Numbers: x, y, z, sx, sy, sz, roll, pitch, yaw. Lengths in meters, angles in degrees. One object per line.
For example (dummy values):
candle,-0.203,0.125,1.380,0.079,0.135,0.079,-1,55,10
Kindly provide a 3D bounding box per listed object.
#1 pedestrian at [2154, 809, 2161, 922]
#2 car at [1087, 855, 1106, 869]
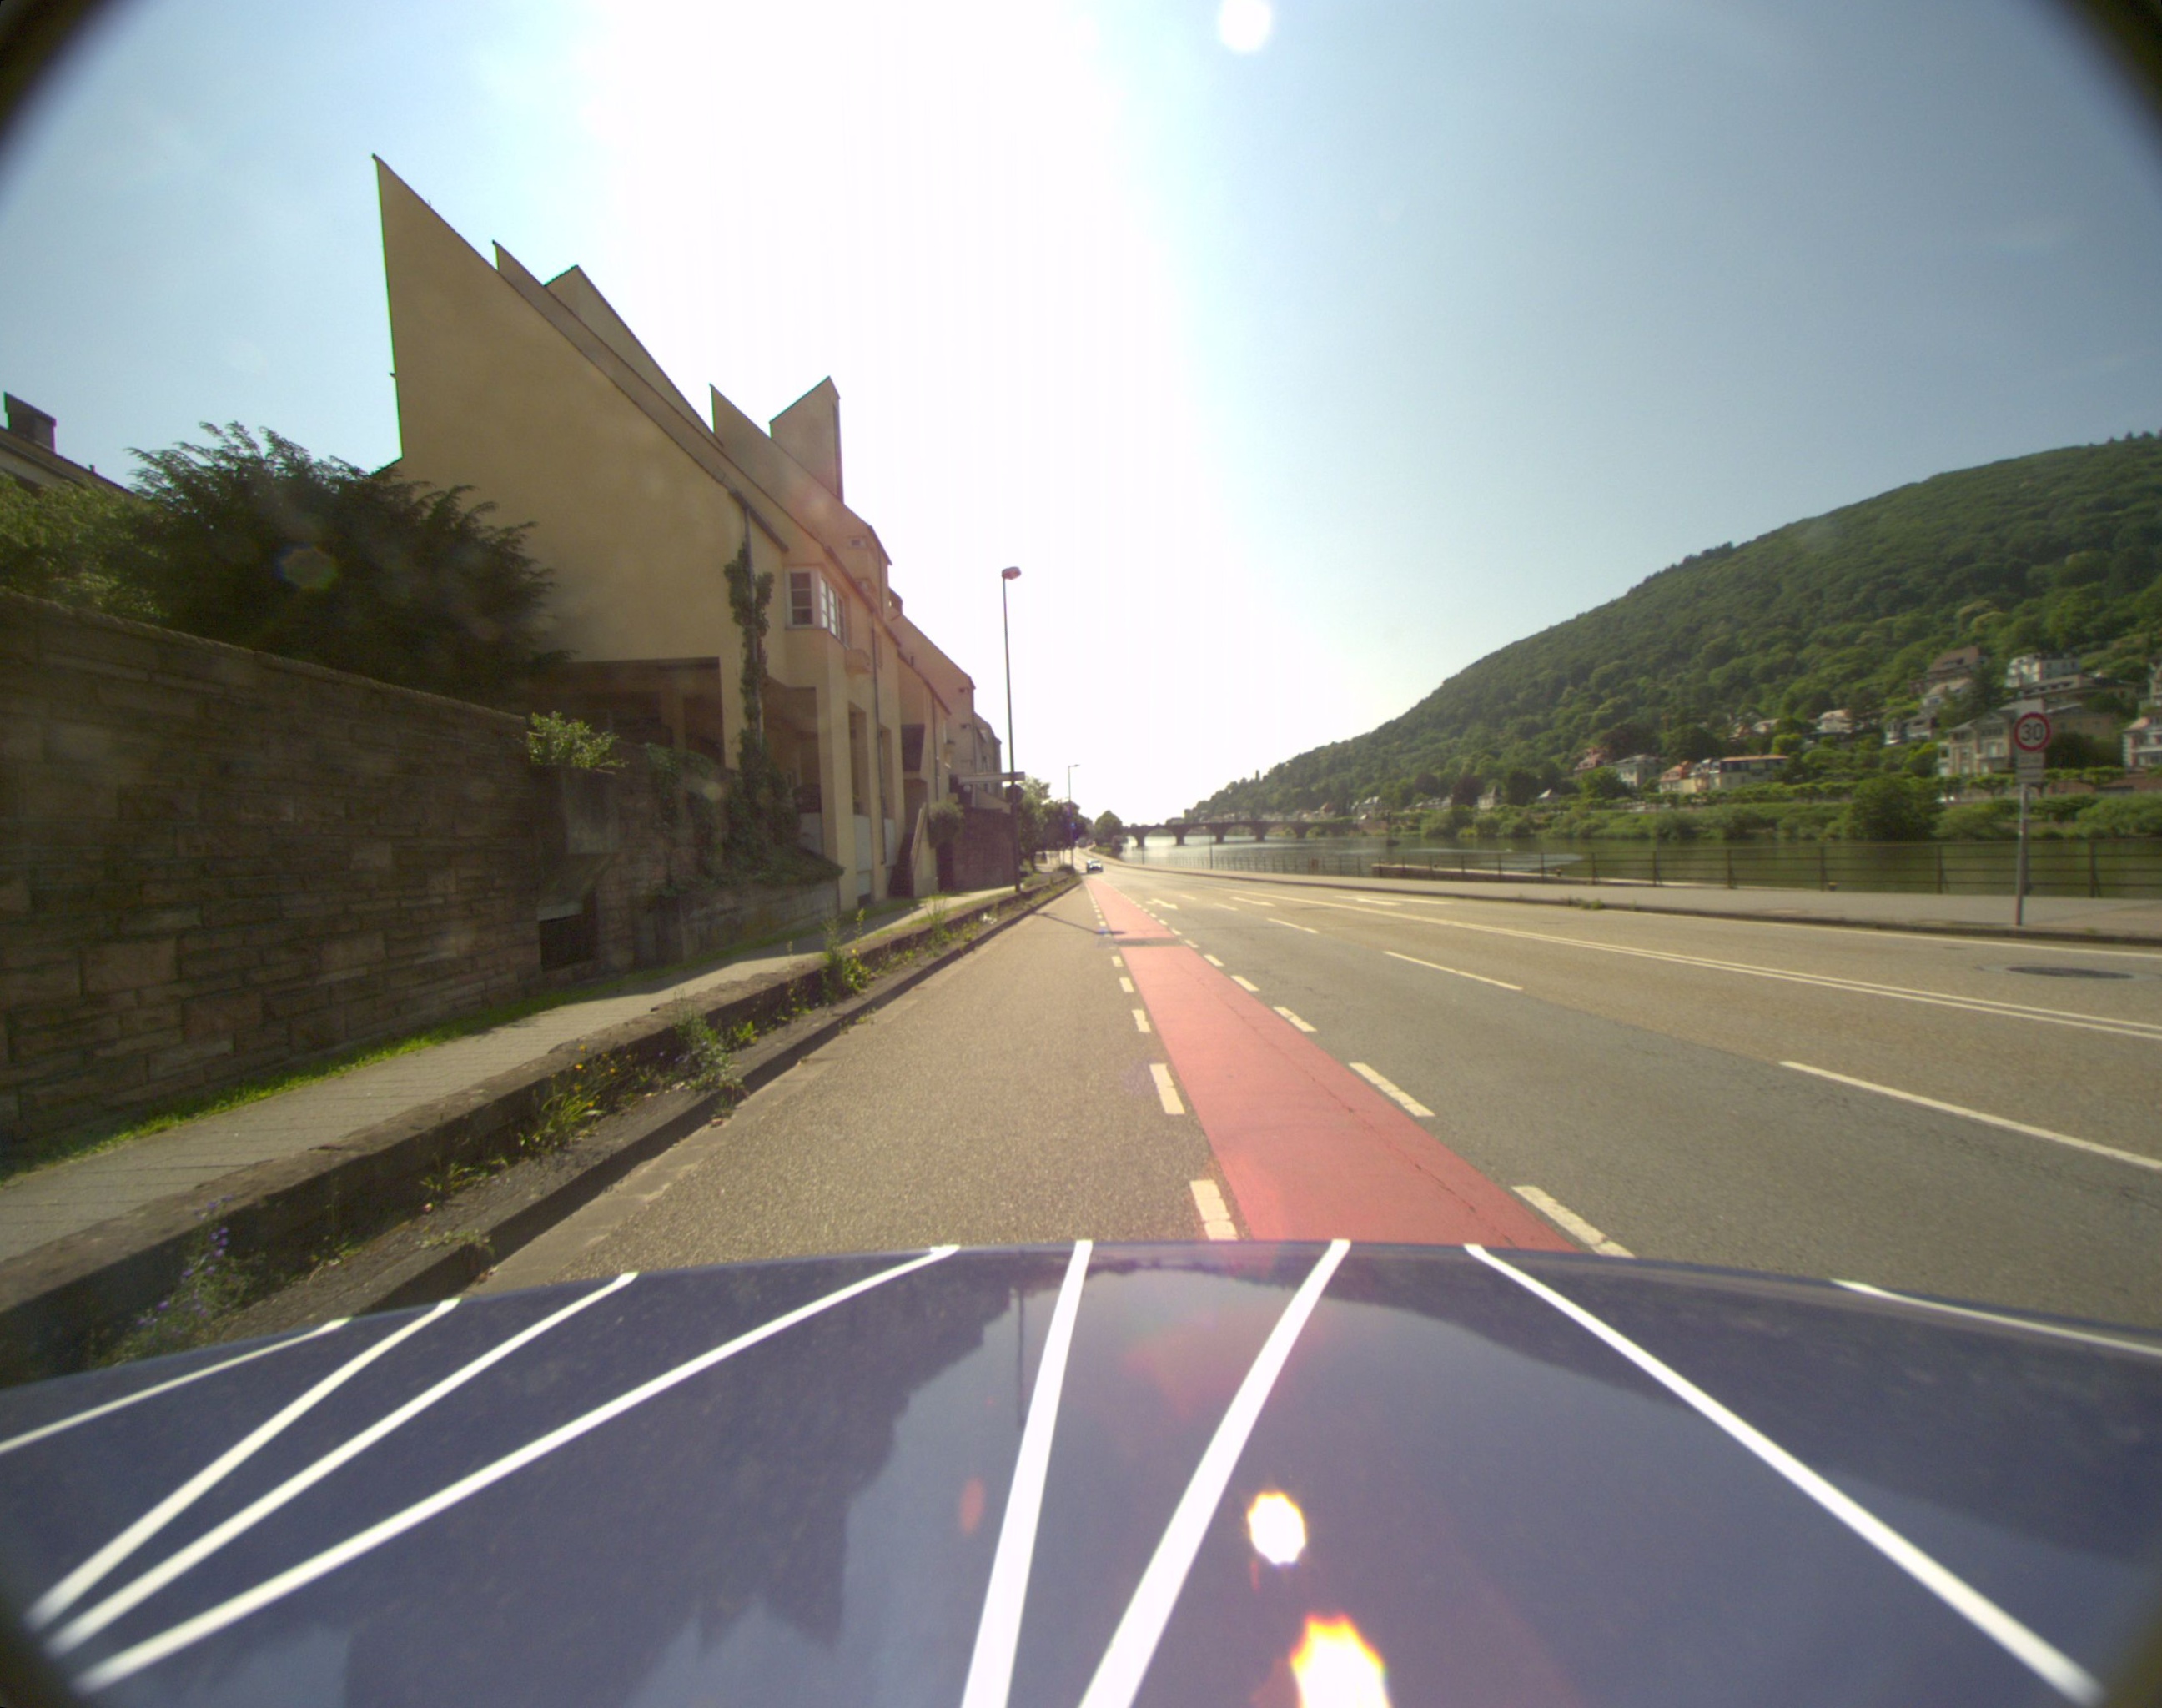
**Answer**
pedestrian,15.824,0.152,10.579,0.705,1.612,0.816,-2,1,-13
car,1.720,0.863,84.965,1.999,1.433,4.000,-2,0,0
